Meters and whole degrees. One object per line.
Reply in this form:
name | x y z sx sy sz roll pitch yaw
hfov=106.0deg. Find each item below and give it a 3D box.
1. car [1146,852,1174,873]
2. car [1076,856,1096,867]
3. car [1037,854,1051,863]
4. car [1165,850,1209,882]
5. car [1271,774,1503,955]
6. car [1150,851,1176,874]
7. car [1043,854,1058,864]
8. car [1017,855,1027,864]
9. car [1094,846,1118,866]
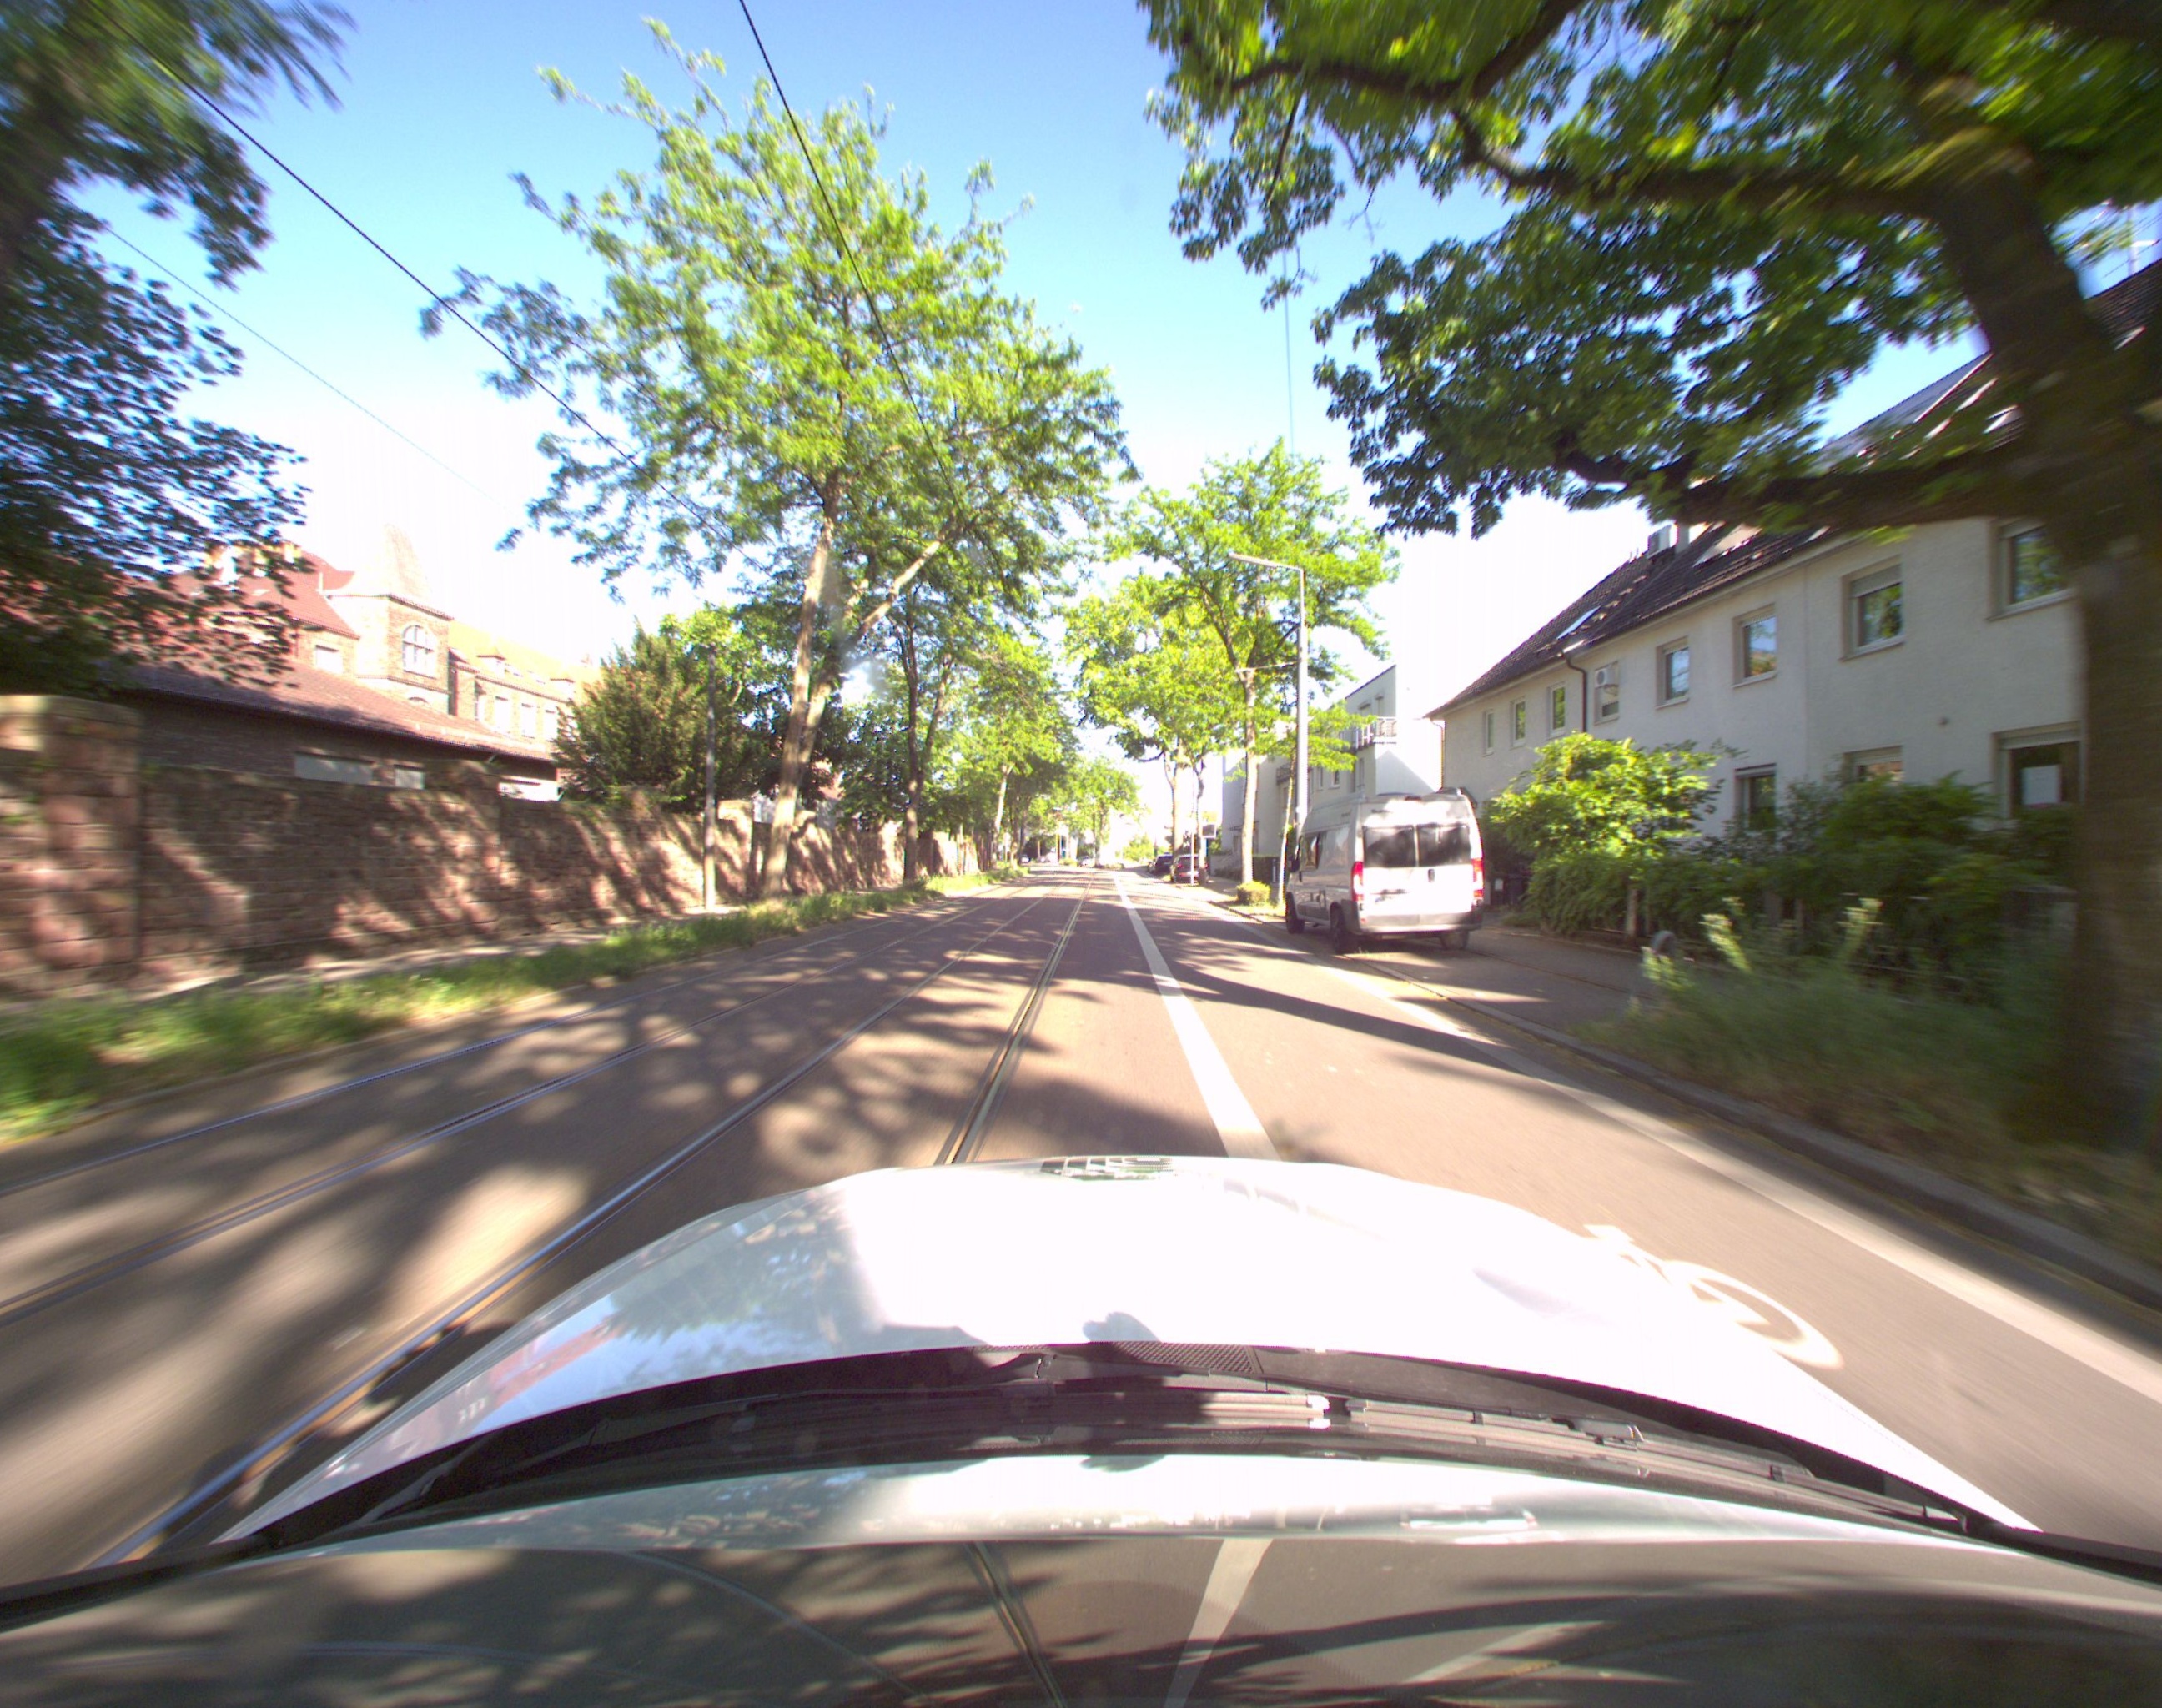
car | 6.803 0.708 70.435 1.996 1.675 4.393 -2 0 1
car | 0.710 1.073 118.623 2.003 1.560 4.376 0 0 -11
car | -7.999 0.972 174.493 2.007 1.675 4.150 -2 0 -16
car | 6.101 0.665 47.319 1.995 1.675 4.393 -2 0 1
car | 5.240 0.165 14.999 2.237 2.654 5.587 -2 0 1
car | 6.495 0.636 64.618 1.993 1.675 4.399 -2 0 5
car | -6.268 0.989 168.657 2.007 1.910 4.368 -2 0 -16
car | -11.700 1.061 160.872 1.864 1.675 4.163 0 0 -6
car | 3.026 0.240 100.791 1.994 2.458 4.491 0 0 -11
